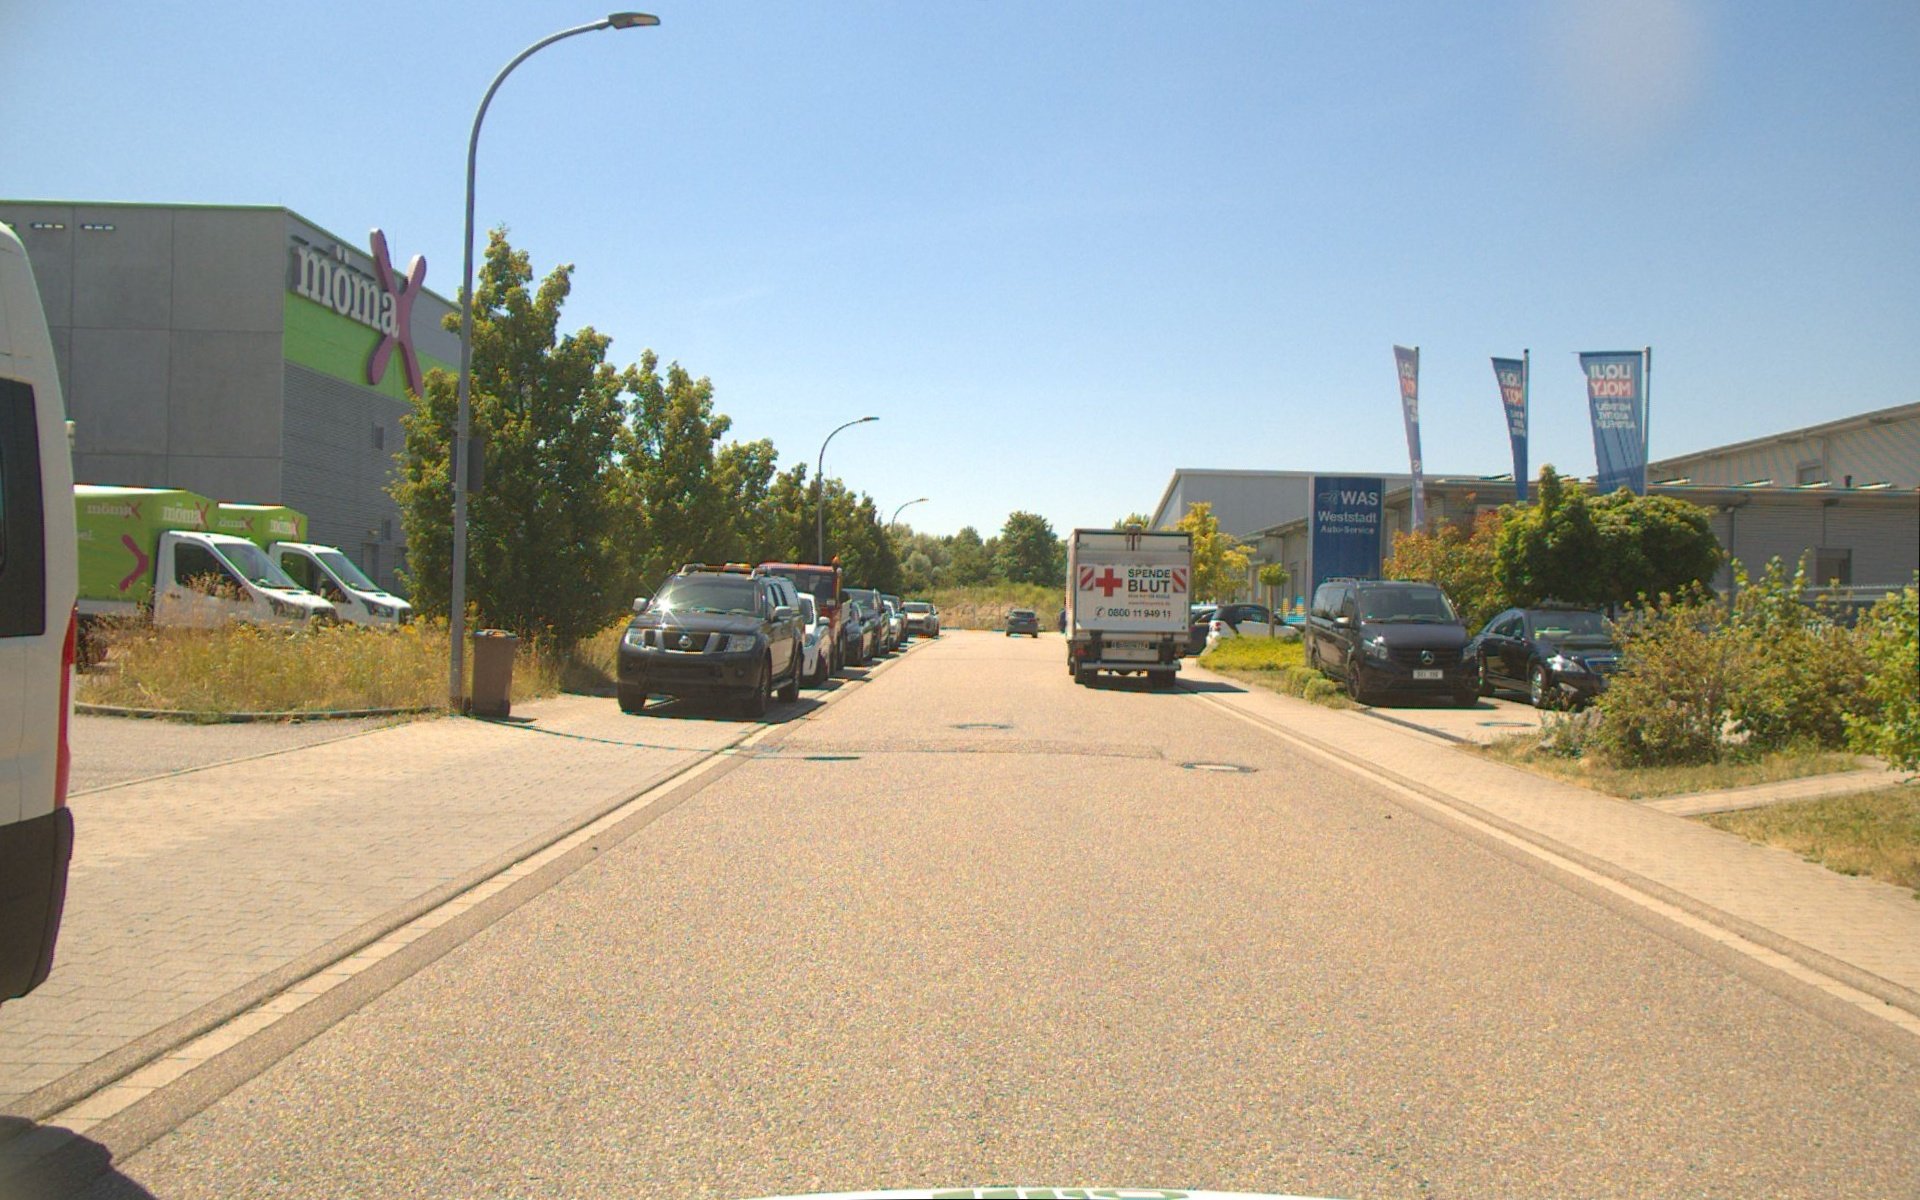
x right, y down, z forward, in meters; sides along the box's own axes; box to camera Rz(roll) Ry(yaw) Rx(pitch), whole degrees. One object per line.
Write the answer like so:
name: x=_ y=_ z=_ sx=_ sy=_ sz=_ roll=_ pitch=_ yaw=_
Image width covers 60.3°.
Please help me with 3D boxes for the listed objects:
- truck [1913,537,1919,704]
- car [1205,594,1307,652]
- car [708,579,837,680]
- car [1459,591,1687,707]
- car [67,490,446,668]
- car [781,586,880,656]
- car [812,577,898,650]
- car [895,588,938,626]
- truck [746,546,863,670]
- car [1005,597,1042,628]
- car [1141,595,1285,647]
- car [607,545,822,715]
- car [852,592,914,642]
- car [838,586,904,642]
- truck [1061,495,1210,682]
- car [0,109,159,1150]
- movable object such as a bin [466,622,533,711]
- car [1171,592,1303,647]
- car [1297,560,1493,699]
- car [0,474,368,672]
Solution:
truck: x=16.746 y=0.302 z=22.909 sx=5.810 sy=2.412 sz=2.181 roll=0 pitch=-1 yaw=2
car: x=8.207 y=0.632 z=45.988 sx=2.650 sy=1.568 sz=1.413 roll=0 pitch=0 yaw=2
car: x=-3.198 y=0.481 z=28.902 sx=1.814 sy=1.578 sz=3.766 roll=3 pitch=0 yaw=-1
car: x=9.454 y=0.692 z=25.938 sx=1.952 sy=1.563 sz=4.592 roll=1 pitch=1 yaw=2
car: x=-12.921 y=-0.369 z=30.729 sx=5.851 sy=2.977 sz=2.521 roll=2 pitch=0 yaw=0
car: x=-2.994 y=0.460 z=39.038 sx=1.813 sy=1.468 sz=4.754 roll=3 pitch=0 yaw=1
car: x=-2.791 y=0.347 z=44.971 sx=1.813 sy=1.789 sz=4.988 roll=3 pitch=0 yaw=2
car: x=-2.042 y=0.337 z=79.261 sx=1.873 sy=1.743 sz=4.413 roll=0 pitch=0 yaw=1
truck: x=-3.084 y=0.158 z=33.643 sx=1.813 sy=2.261 sz=4.646 roll=3 pitch=0 yaw=0
car: x=3.637 y=0.713 z=95.503 sx=1.874 sy=1.743 sz=4.030 roll=1 pitch=0 yaw=-2
car: x=7.763 y=0.647 z=51.024 sx=4.190 sy=1.568 sz=1.913 roll=0 pitch=0 yaw=2
car: x=-3.146 y=0.356 z=22.388 sx=1.933 sy=1.934 sz=5.403 roll=3 pitch=0 yaw=1
car: x=-2.886 y=0.631 z=63.037 sx=1.950 sy=1.743 sz=5.008 roll=3 pitch=0 yaw=1
car: x=-2.668 y=0.410 z=50.384 sx=1.814 sy=1.545 sz=4.903 roll=3 pitch=0 yaw=-2
truck: x=3.362 y=-0.219 z=33.187 sx=2.406 sy=3.261 sz=6.884 roll=3 pitch=0 yaw=2
car: x=-3.648 y=0.045 z=1.840 sx=2.275 sy=2.644 sz=6.086 roll=3 pitch=0 yaw=2
movable object such as a bin: x=-5.186 y=0.742 z=18.649 sx=0.536 sy=0.966 sz=0.683 roll=2 pitch=0 yaw=-1
car: x=8.074 y=0.549 z=48.454 sx=3.615 sy=1.568 sz=1.913 roll=0 pitch=0 yaw=2
car: x=7.032 y=0.437 z=27.329 sx=1.952 sy=2.049 sz=5.338 roll=1 pitch=0 yaw=2
car: x=-12.934 y=-0.428 z=26.550 sx=5.851 sy=2.874 sz=2.521 roll=2 pitch=0 yaw=0
